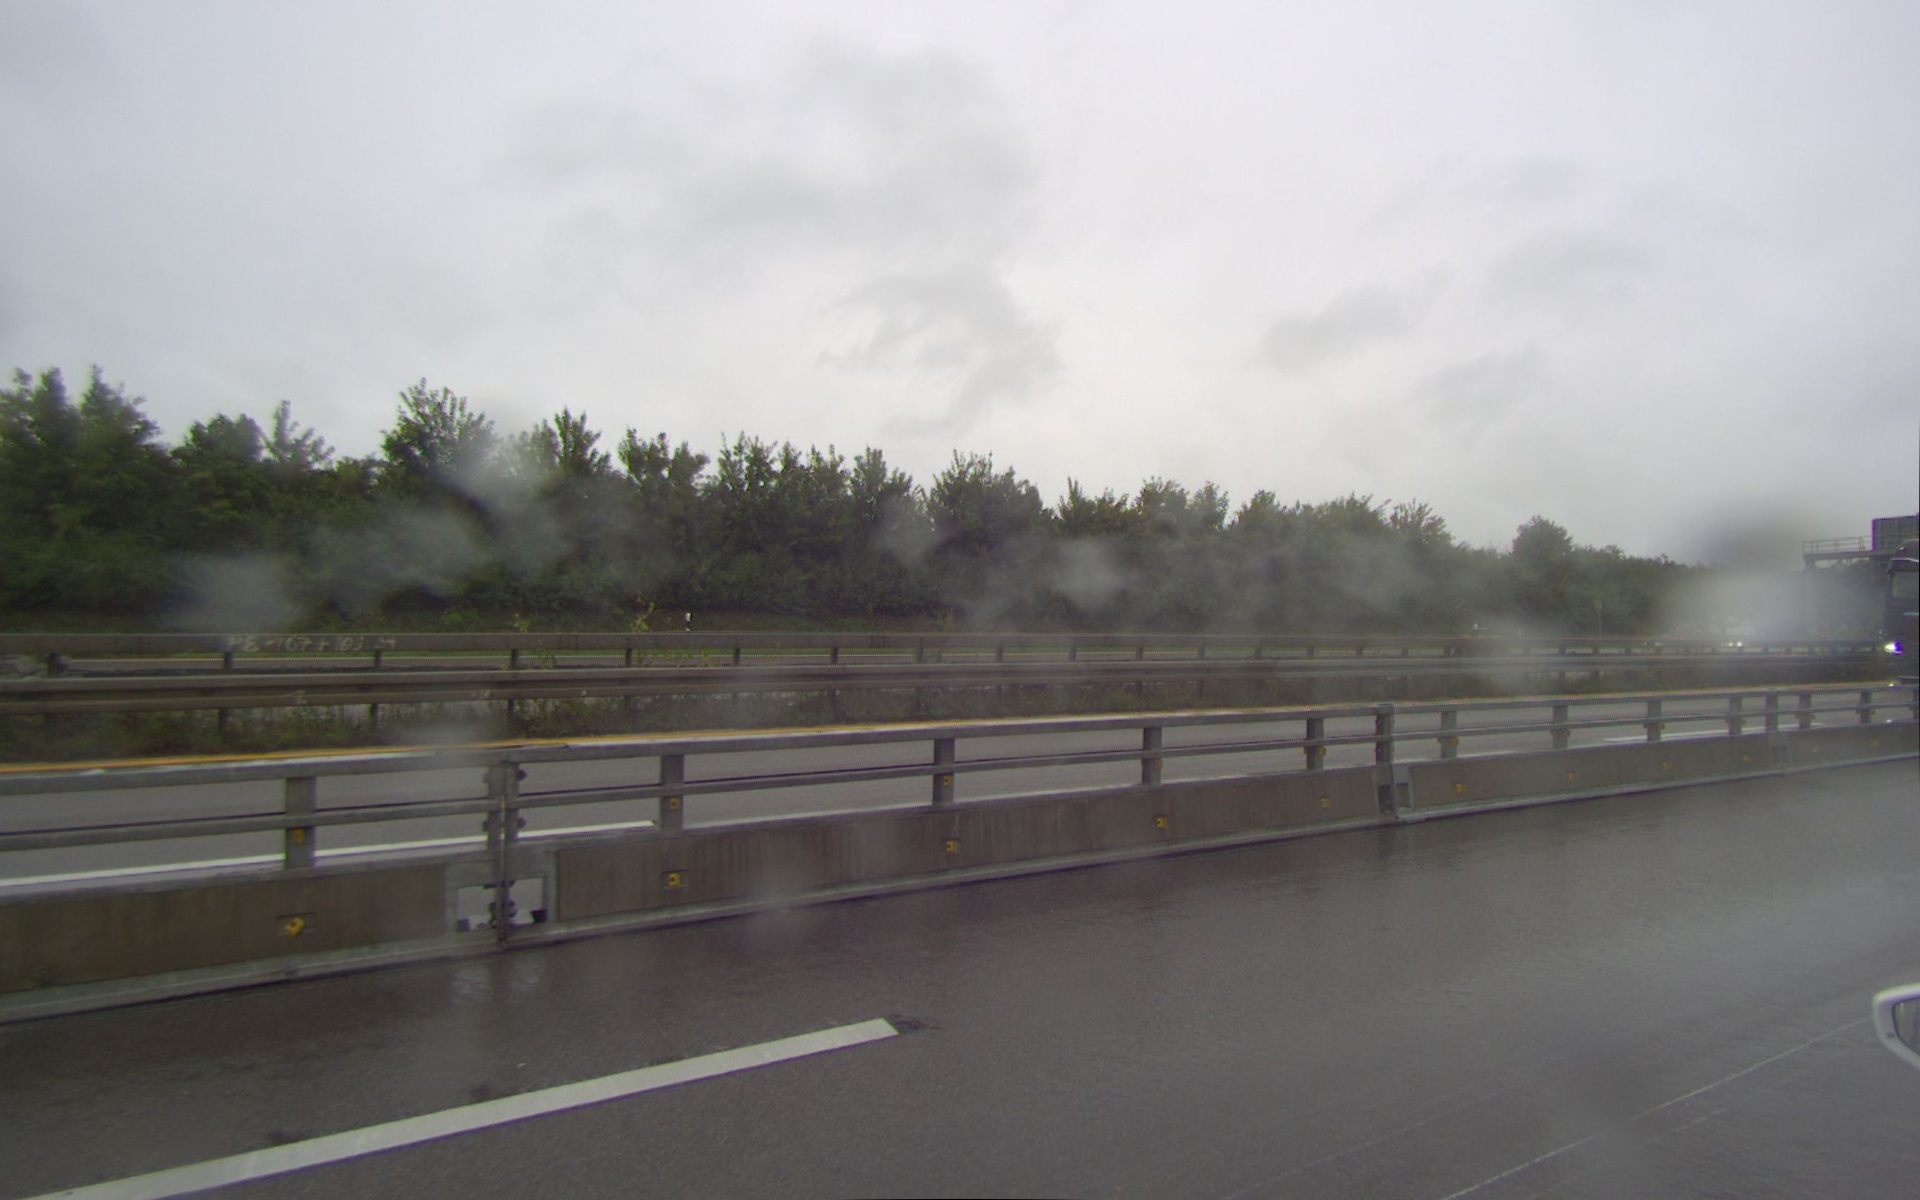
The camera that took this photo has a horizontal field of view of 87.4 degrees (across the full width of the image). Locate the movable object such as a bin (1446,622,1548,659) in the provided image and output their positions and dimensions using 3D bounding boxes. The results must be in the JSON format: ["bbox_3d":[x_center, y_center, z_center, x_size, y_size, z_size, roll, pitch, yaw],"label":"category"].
[{"bbox_3d":[23.507,1.778,43.975,3.952,1.444,2.116,2,0,-29],"label":"movable object such as a bin"}]

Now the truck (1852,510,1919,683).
[{"bbox_3d":[26.575,0.007,26.274,6.247,4.287,2.877,2,-1,-28],"label":"truck"}]
